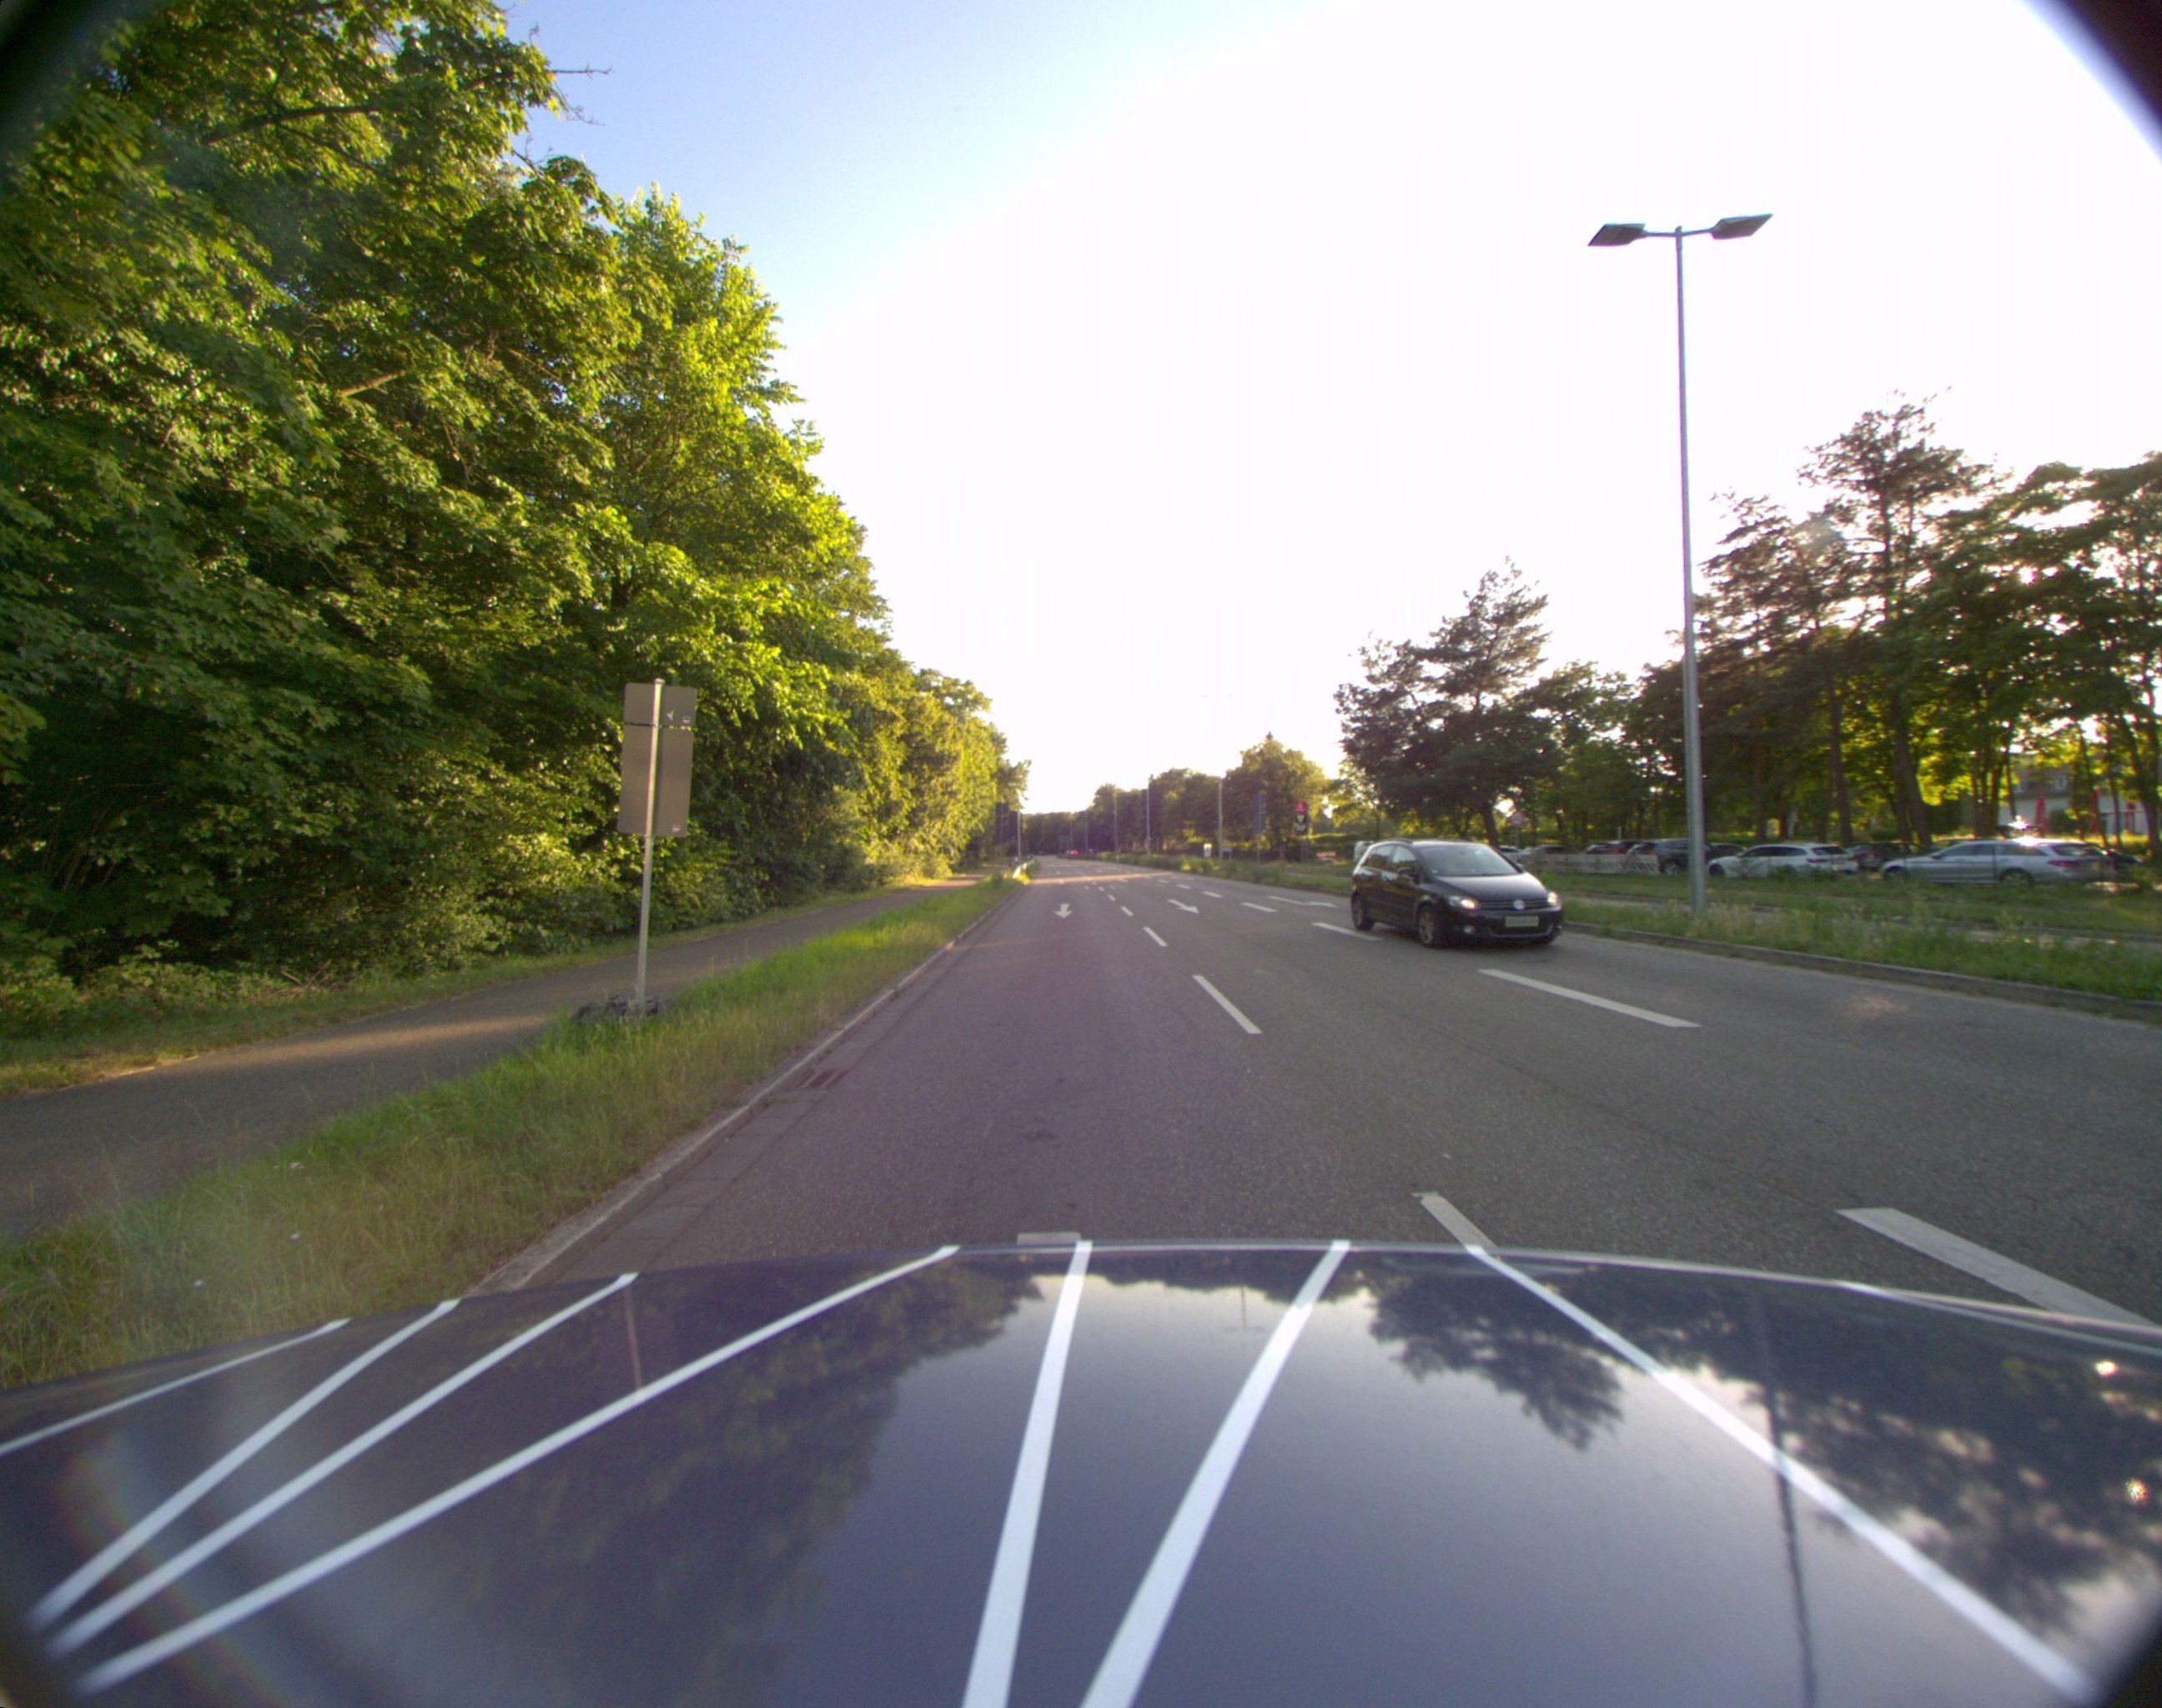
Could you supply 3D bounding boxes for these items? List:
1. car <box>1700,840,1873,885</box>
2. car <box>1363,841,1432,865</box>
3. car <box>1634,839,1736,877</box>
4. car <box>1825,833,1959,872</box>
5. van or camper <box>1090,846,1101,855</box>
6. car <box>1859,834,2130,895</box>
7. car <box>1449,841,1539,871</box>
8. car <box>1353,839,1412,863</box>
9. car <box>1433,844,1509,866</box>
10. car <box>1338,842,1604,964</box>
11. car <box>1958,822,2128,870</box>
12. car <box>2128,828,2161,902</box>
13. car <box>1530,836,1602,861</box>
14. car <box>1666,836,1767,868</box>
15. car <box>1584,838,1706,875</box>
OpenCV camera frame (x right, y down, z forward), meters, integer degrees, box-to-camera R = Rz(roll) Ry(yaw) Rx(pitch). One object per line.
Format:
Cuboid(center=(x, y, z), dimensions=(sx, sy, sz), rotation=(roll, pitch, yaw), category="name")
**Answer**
Cuboid(center=(26.416, 0.261, 28.741), dimensions=(1.999, 1.539, 4.708), rotation=(-1, 1, -4), category="car")
Cuboid(center=(24.167, -0.094, 58.035), dimensions=(4.498, 1.787, 1.909), rotation=(-1, 1, -2), category="car")
Cuboid(center=(25.851, 0.166, 32.568), dimensions=(3.099, 1.518, 1.659), rotation=(-1, 1, -2), category="car")
Cuboid(center=(35.415, -0.068, 33.253), dimensions=(3.997, 1.641, 1.766), rotation=(-1, 1, -1), category="car")
Cuboid(center=(3.594, -0.866, 187.961), dimensions=(2.000, 2.002, 4.575), rotation=(-1, 1, -7), category="van or camper")
Cuboid(center=(26.771, 0.250, 22.633), dimensions=(1.999, 1.597, 4.920), rotation=(-1, 0, -4), category="car")
Cuboid(center=(25.163, 0.134, 46.411), dimensions=(4.497, 1.743, 1.909), rotation=(-1, 1, -1), category="car")
Cuboid(center=(24.205, -0.247, 61.074), dimensions=(3.998, 1.933, 1.766), rotation=(-1, 1, -2), category="car")
Cuboid(center=(24.934, 0.062, 48.655), dimensions=(3.997, 1.304, 1.732), rotation=(-1, 1, -1), category="car")
Cuboid(center=(5.724, 0.622, 11.807), dimensions=(1.999, 1.543, 3.999), rotation=(-1, 0, -2), category="car")
Cuboid(center=(34.976, -0.282, 27.697), dimensions=(3.997, 1.641, 1.766), rotation=(-1, 1, -1), category="car")
Cuboid(center=(27.103, 0.262, 16.425), dimensions=(1.999, 1.776, 4.920), rotation=(-1, 1, -4), category="car")
Cuboid(center=(34.114, -0.396, 53.489), dimensions=(3.997, 1.641, 1.766), rotation=(-1, 1, -1), category="car")
Cuboid(center=(34.074, -0.116, 40.808), dimensions=(3.997, 1.641, 1.766), rotation=(-1, 1, -1), category="car")
Cuboid(center=(26.500, 0.114, 35.785), dimensions=(4.525, 1.608, 1.771), rotation=(-1, 1, -3), category="car")
